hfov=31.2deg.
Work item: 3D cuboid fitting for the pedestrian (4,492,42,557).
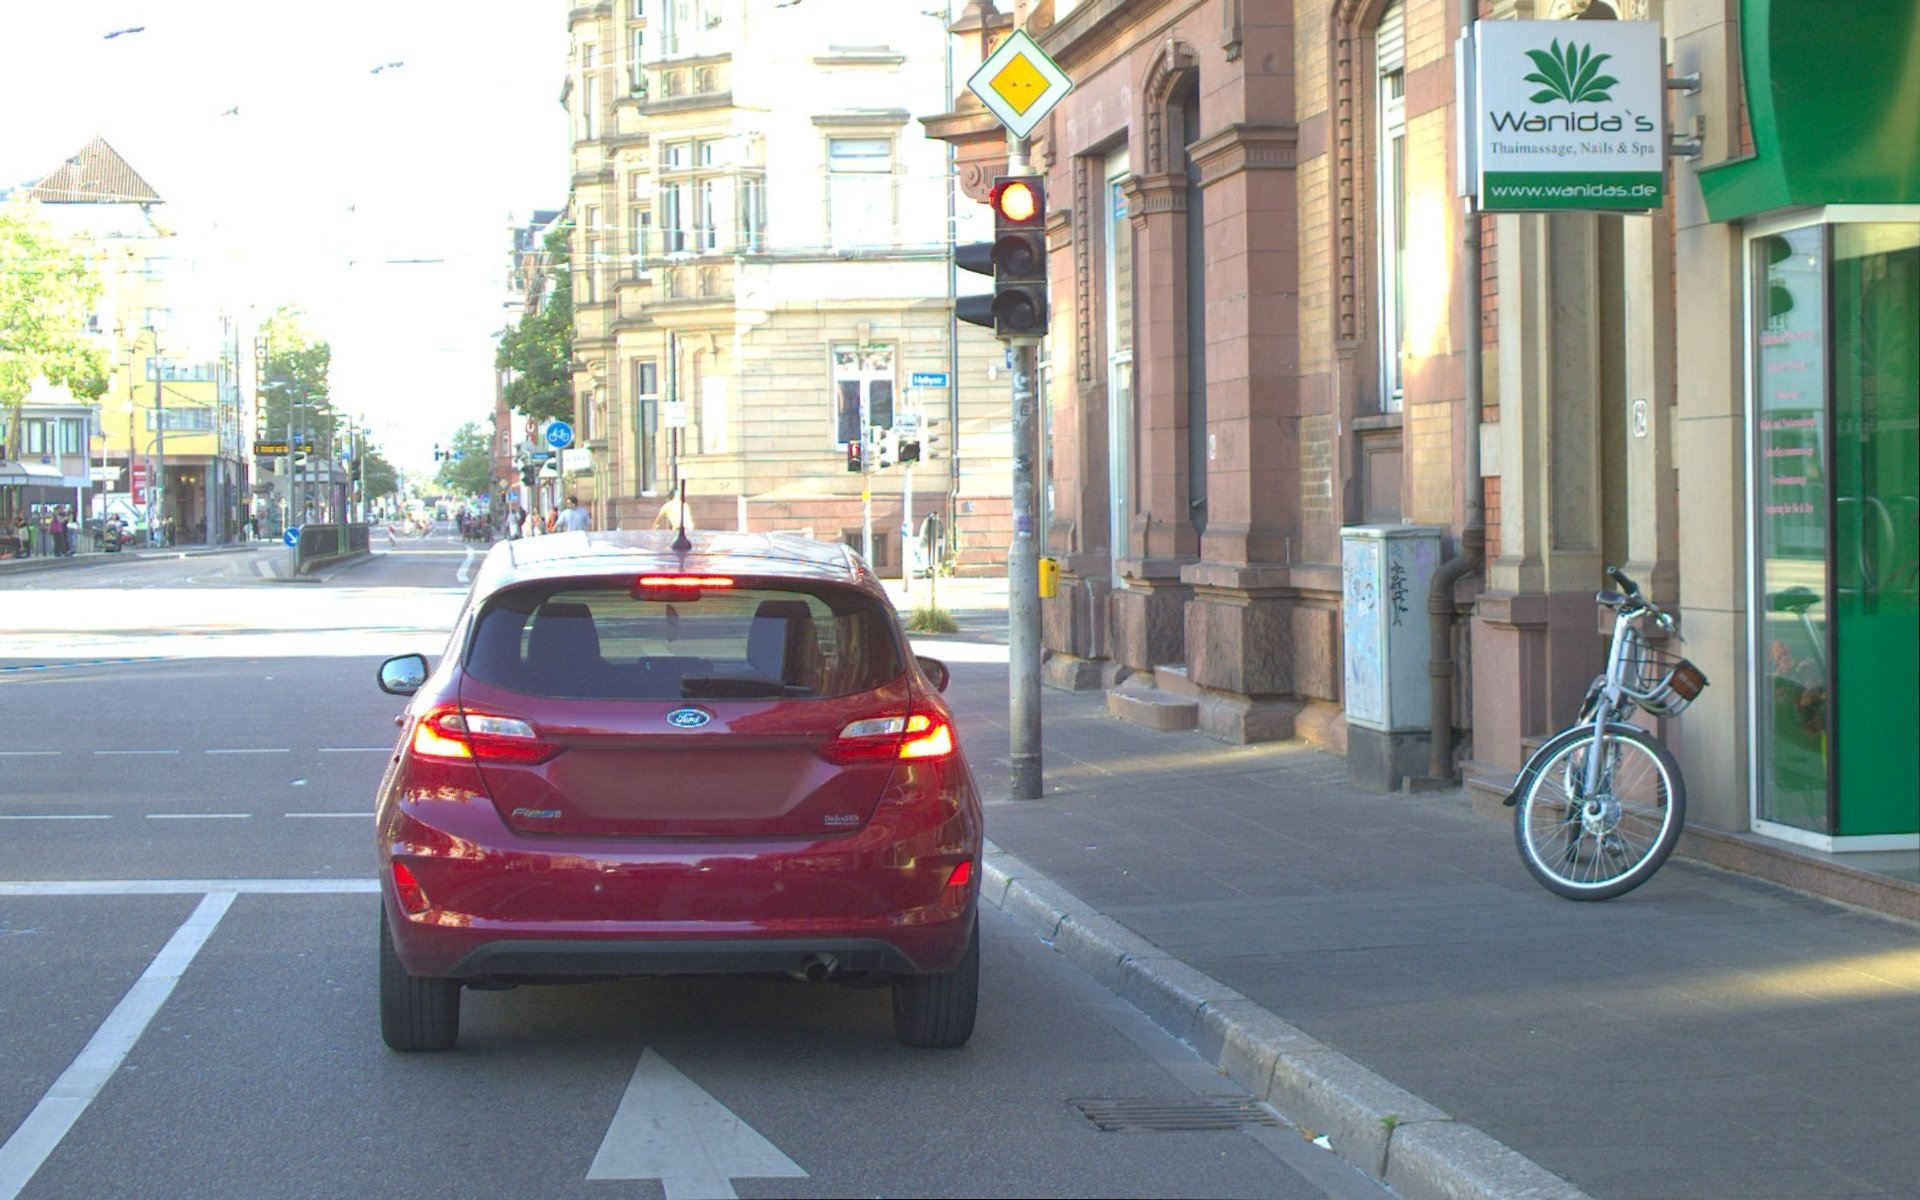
[{"bbox_3d":[-29.340,-2.372,107.655,1.045,2.006,0.959,-1,2,-10],"label":"pedestrian"}]

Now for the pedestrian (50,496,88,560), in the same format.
[{"bbox_3d":[-28.191,-2.289,108.762,1.045,2.006,0.959,-1,2,-10],"label":"pedestrian"}]

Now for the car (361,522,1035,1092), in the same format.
[{"bbox_3d":[-1.007,0.500,10.962,1.753,1.461,3.946,1,1,-10],"label":"car"}]

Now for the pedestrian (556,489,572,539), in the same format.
[{"bbox_3d":[-15.970,-3.483,138.655,0.577,2.007,0.631,-1,1,-2],"label":"pedestrian"}]

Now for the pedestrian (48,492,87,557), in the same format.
[{"bbox_3d":[-27.598,-2.341,106.326,1.045,2.006,0.959,-1,2,-10],"label":"pedestrian"}]

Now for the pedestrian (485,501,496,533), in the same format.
[{"bbox_3d":[-27.850,-4.921,203.943,0.577,1.880,0.631,-1,1,-7],"label":"pedestrian"}]

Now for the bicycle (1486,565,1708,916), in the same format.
[{"bbox_3d":[2.346,0.479,12.673,0.716,1.148,1.654,-2,2,11],"label":"bicycle"}]

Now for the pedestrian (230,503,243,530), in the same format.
[{"bbox_3d":[-41.911,-4.831,199.103,0.628,1.598,0.579,-1,2,-24],"label":"pedestrian"}]

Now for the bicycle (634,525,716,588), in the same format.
[{"bbox_3d":[-5.024,-0.775,60.559,1.485,1.085,0.526,1,2,41],"label":"bicycle"}]

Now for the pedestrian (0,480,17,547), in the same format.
[{"bbox_3d":[-29.014,-2.602,103.628,0.956,2.006,1.049,-1,2,-8],"label":"pedestrian"}]

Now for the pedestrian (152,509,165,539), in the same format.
[{"bbox_3d":[-39.717,-3.786,170.328,0.524,1.483,0.583,-1,1,-6],"label":"pedestrian"}]

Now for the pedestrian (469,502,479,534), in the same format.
[{"bbox_3d":[-29.431,-4.961,208.059,0.577,1.880,0.670,-1,1,-8],"label":"pedestrian"}]

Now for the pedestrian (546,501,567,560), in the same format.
[{"bbox_3d":[-13.742,-2.360,117.081,0.646,2.007,0.683,-1,1,-8],"label":"pedestrian"}]

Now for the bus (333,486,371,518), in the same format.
[{"bbox_3d":[-38.811,-6.270,219.536,1.925,2.006,7.139,-1,2,-6],"label":"bus"}]

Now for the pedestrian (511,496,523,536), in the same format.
[{"bbox_3d":[-22.337,-4.217,173.383,0.577,2.007,0.631,-1,1,-7],"label":"pedestrian"}]

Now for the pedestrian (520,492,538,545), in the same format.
[{"bbox_3d":[-16.348,-3.095,130.466,0.577,2.007,0.631,-1,1,-2],"label":"pedestrian"}]

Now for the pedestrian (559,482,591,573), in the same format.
[{"bbox_3d":[-8.579,-1.626,76.594,0.651,2.007,0.760,-1,1,-9],"label":"pedestrian"}]

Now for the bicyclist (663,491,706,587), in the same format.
[{"bbox_3d":[-4.843,-1.069,60.397,0.544,1.670,0.500,1,2,40],"label":"bicyclist"}]
